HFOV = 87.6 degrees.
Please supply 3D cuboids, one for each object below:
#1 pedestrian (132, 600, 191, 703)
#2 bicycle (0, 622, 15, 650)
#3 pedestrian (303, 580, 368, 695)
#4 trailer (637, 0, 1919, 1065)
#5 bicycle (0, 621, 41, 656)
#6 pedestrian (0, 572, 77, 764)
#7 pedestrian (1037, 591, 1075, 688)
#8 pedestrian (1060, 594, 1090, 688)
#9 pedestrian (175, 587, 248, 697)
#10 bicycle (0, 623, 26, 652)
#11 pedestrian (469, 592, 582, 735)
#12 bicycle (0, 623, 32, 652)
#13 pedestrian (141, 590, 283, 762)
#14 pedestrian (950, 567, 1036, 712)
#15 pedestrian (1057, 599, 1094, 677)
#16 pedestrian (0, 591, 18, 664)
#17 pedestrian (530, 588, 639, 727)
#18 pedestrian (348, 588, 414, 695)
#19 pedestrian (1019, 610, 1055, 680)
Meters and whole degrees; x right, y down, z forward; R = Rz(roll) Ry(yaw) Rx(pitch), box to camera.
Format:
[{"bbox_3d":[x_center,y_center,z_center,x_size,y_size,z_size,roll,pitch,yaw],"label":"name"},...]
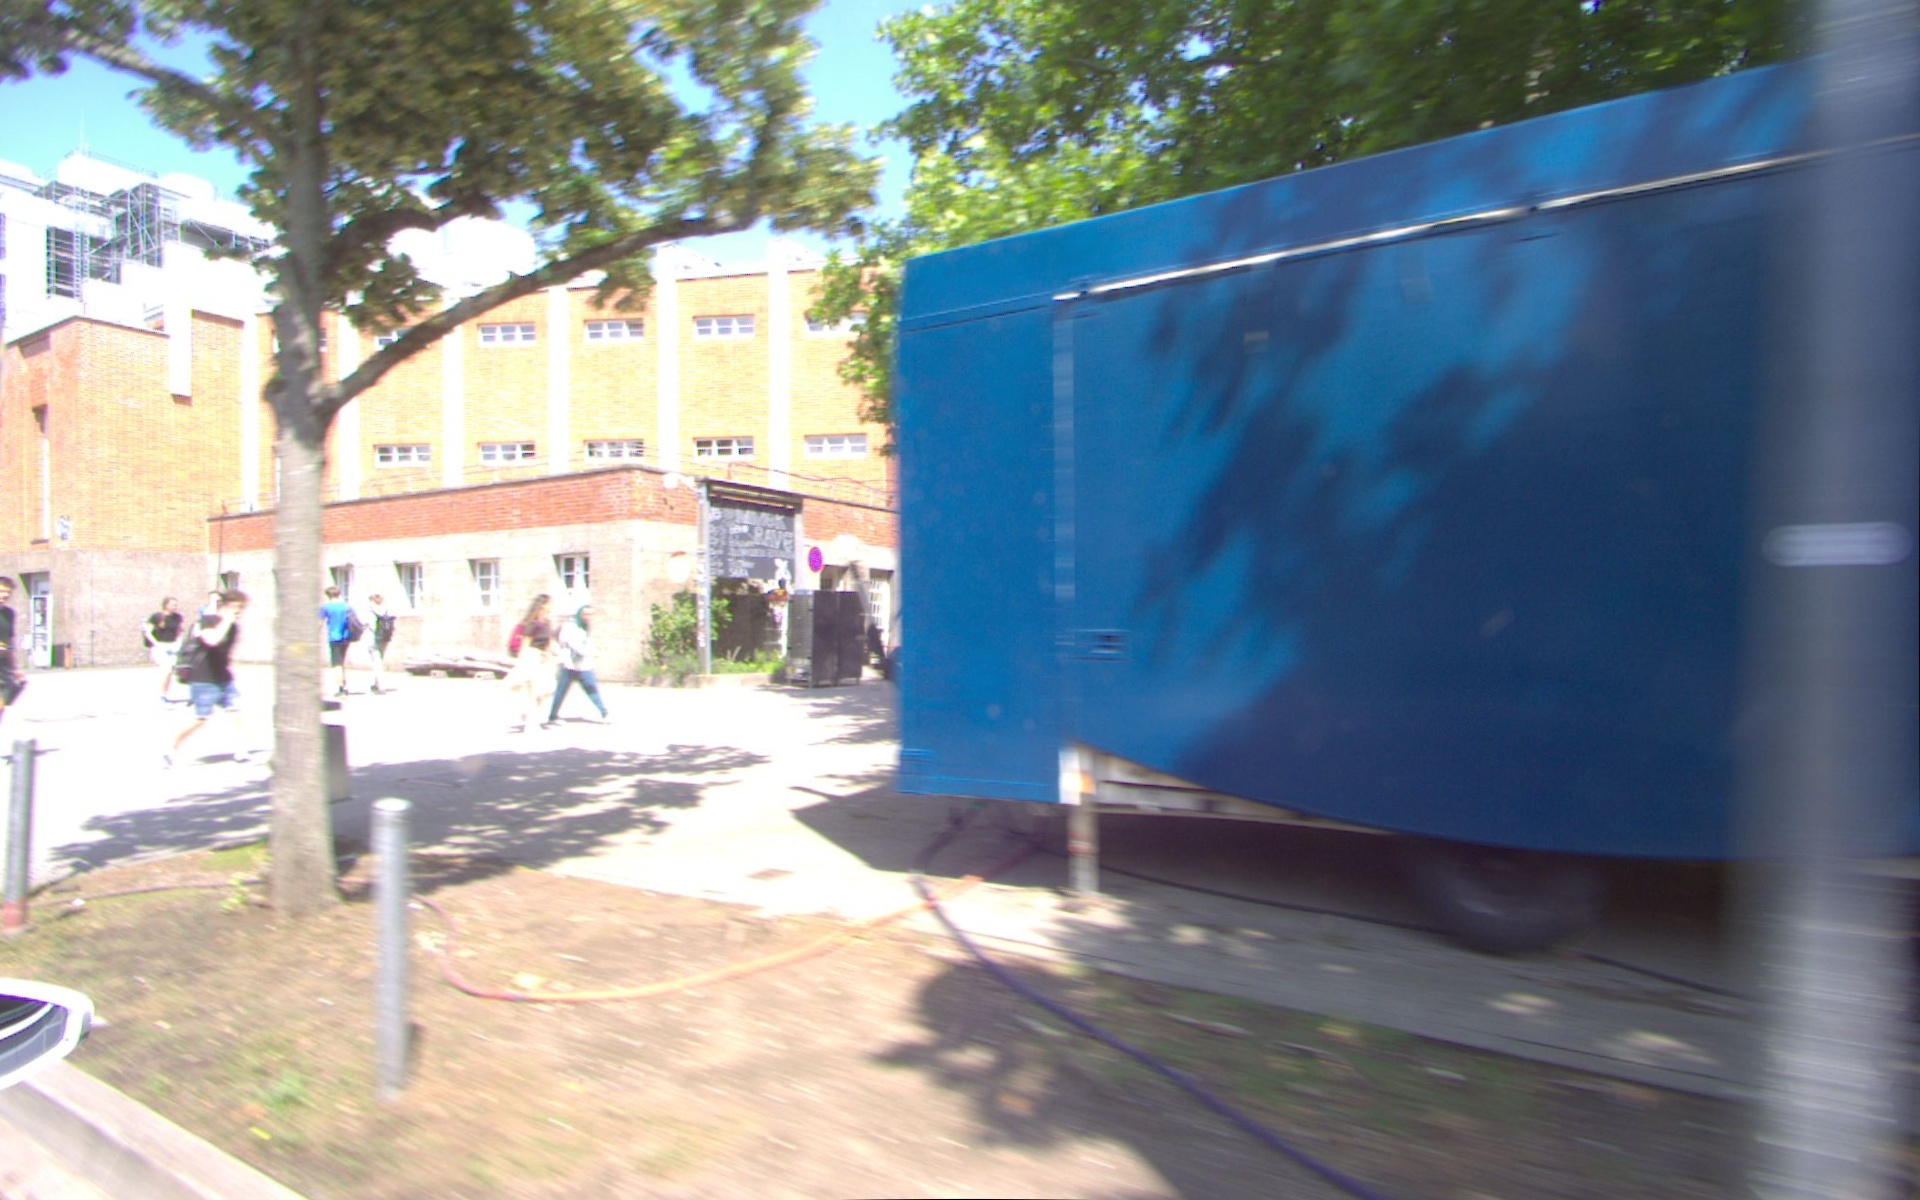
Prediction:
[{"bbox_3d":[-13.040,0.835,16.352,0.562,1.652,0.501,-2,0,23],"label":"pedestrian"},{"bbox_3d":[-32.560,1.208,33.131,0.552,0.924,1.806,0,1,31],"label":"bicycle"},{"bbox_3d":[-10.752,0.621,17.237,0.982,1.917,0.697,2,2,42],"label":"pedestrian"},{"bbox_3d":[1.625,-0.258,4.904,6.164,3.092,2.687,0,1,31],"label":"trailer"},{"bbox_3d":[-29.177,1.183,30.570,0.552,1.047,1.532,0,0,31],"label":"bicycle"},{"bbox_3d":[-9.970,0.673,10.261,1.094,1.884,0.854,0,0,-1],"label":"pedestrian"},{"bbox_3d":[1.915,0.777,20.045,0.521,1.907,0.556,1,0,-29],"label":"pedestrian"},{"bbox_3d":[2.386,0.840,20.784,0.548,1.908,0.529,-1,1,4],"label":"pedestrian"},{"bbox_3d":[-12.772,0.702,17.099,0.740,1.811,0.708,0,1,23],"label":"pedestrian"},{"bbox_3d":[-31.376,1.218,32.247,0.552,0.924,1.806,0,1,31],"label":"bicycle"},{"bbox_3d":[-5.307,0.743,12.241,0.935,1.660,0.874,0,1,31],"label":"pedestrian"},{"bbox_3d":[-30.699,1.202,31.736,0.552,0.924,1.806,0,1,31],"label":"bicycle"},{"bbox_3d":[-7.353,0.717,9.893,0.815,1.616,0.849,0,1,-12],"label":"pedestrian"},{"bbox_3d":[0.457,0.536,13.494,1.056,1.889,0.764,0,-4,9],"label":"pedestrian"},{"bbox_3d":[2.919,0.953,25.233,0.718,1.907,0.835,2,0,16],"label":"pedestrian"},{"bbox_3d":[-25.186,0.713,26.011,1.100,1.884,0.789,0,0,31],"label":"pedestrian"},{"bbox_3d":[-4.860,0.714,12.997,0.934,1.662,0.874,2,6,28],"label":"pedestrian"},{"bbox_3d":[-10.281,0.708,17.780,0.982,1.828,0.698,1,2,41],"label":"pedestrian"},{"bbox_3d":[1.979,1.156,25.645,0.718,1.761,0.835,-1,-1,17],"label":"pedestrian"}]
